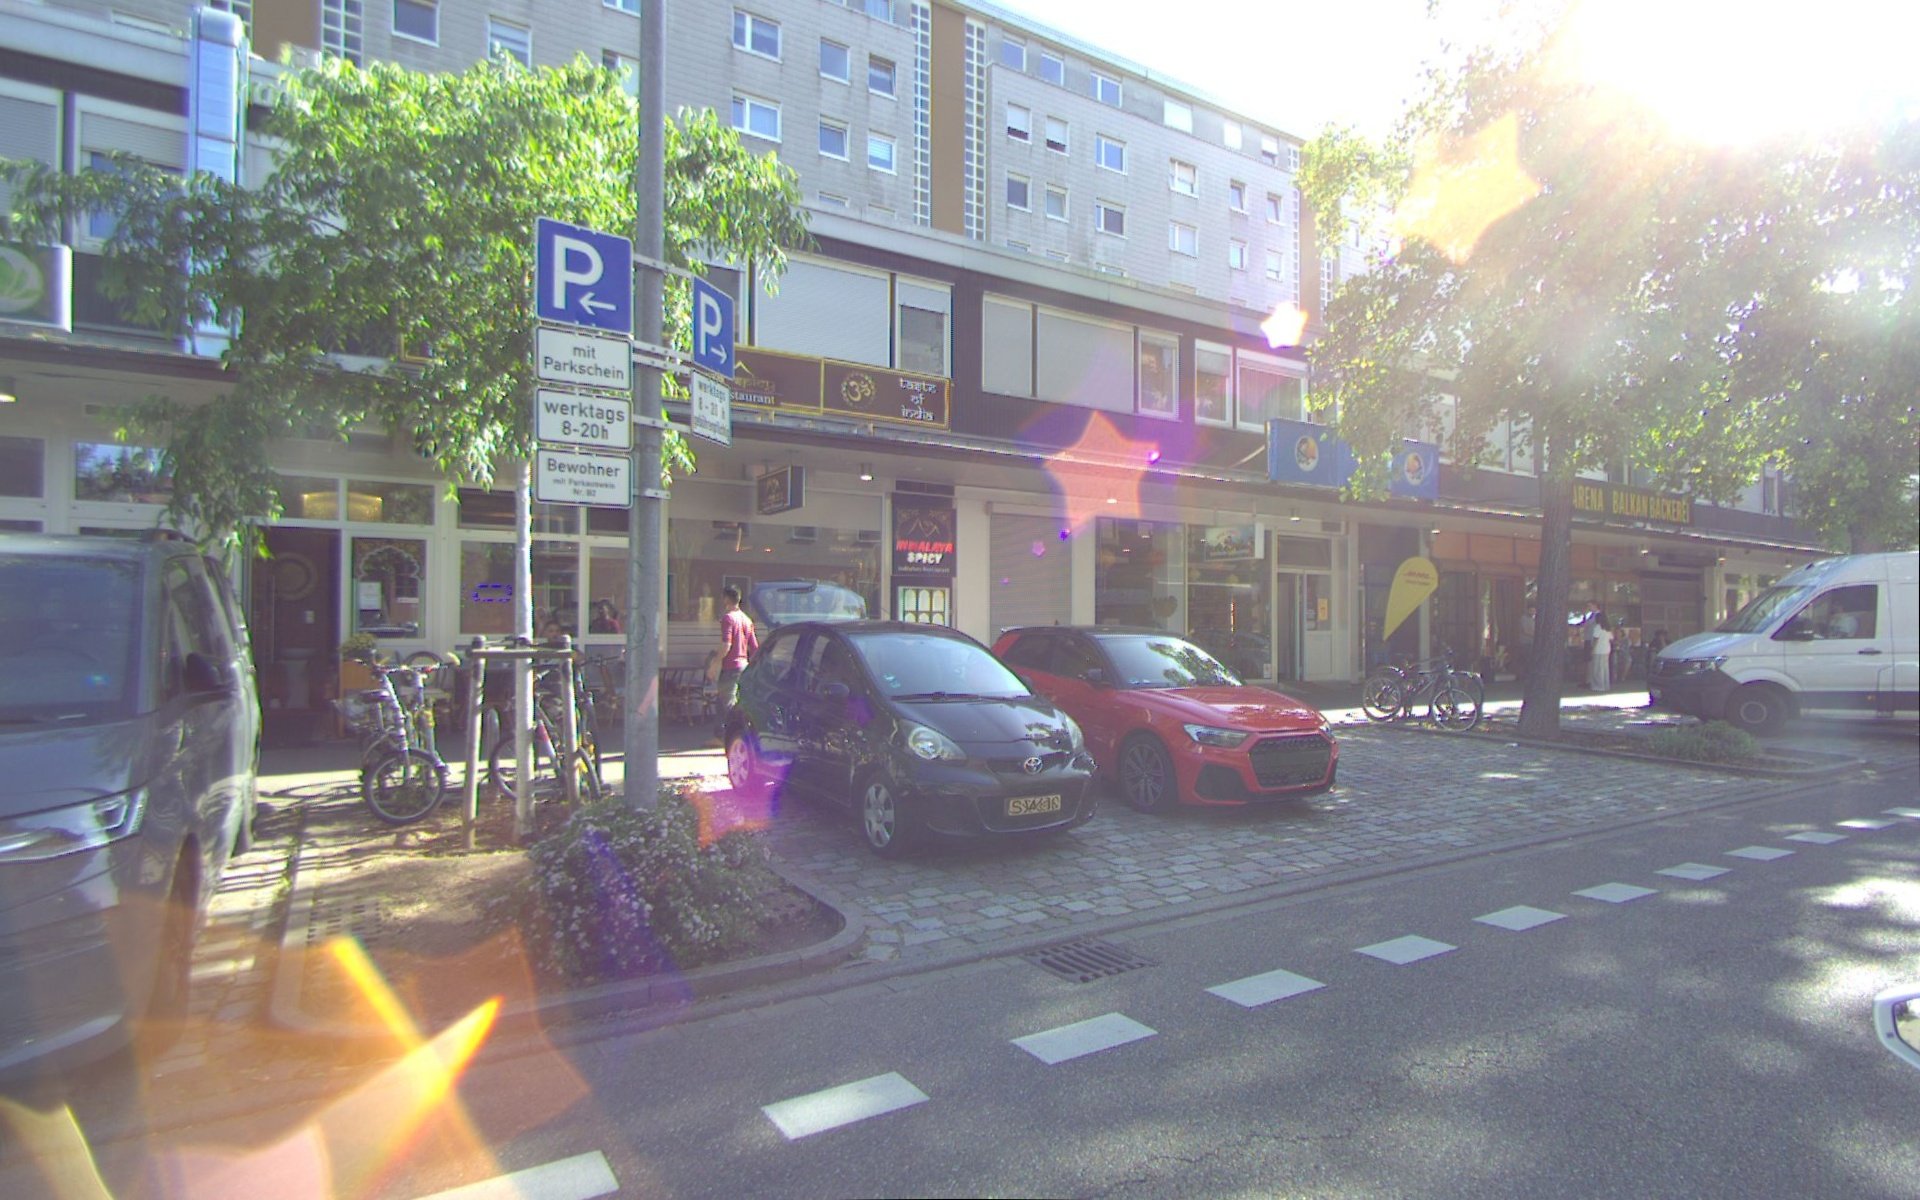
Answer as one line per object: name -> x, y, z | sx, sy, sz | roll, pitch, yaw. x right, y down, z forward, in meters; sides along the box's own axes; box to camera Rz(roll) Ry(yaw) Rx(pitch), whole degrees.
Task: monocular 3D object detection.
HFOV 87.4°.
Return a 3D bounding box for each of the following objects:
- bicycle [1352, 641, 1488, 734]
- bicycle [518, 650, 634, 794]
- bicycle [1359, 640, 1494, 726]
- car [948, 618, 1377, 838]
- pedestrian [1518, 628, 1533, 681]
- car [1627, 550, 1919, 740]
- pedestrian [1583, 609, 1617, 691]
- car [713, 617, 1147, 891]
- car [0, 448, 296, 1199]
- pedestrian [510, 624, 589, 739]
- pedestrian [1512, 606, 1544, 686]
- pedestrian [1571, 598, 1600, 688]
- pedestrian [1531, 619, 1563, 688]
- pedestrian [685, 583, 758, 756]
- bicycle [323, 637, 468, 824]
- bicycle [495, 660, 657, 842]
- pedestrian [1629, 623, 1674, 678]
bicycle -> 6.450, 1.193, 14.184 | 0.615, 1.132, 1.712 | 1, 0, -28
bicycle -> -3.323, 0.978, 8.606 | 0.608, 1.053, 1.853 | 1, -2, -31
bicycle -> 6.996, 1.217, 15.173 | 0.579, 1.121, 1.860 | 1, 0, -28
car -> 1.589, 0.948, 9.187 | 1.690, 1.470, 3.898 | 1, 0, -30
pedestrian -> 13.425, 1.288, 23.849 | 0.212, 1.261, 0.211 | 1, 0, -30
car -> 13.393, 0.610, 14.017 | 6.473, 2.506, 2.000 | 0, -1, 20
pedestrian -> 13.729, 1.073, 21.548 | 0.496, 1.728, 0.388 | 1, 0, -30
car -> -0.457, 0.906, 7.637 | 1.596, 1.470, 3.643 | 1, 0, -34
car -> -4.254, 0.568, 4.432 | 1.851, 1.964, 5.006 | 1, 0, -30
pedestrian -> -4.706, 0.909, 11.502 | 0.738, 1.262, 0.646 | 1, -1, -31
pedestrian -> 12.886, 1.039, 22.794 | 0.423, 1.805, 0.481 | 1, -2, -34
pedestrian -> 13.768, 0.946, 22.126 | 0.357, 1.960, 0.388 | 1, 0, -30
pedestrian -> 12.901, 1.166, 22.087 | 0.416, 1.492, 0.465 | 1, -2, -34
pedestrian -> -2.467, 0.709, 10.441 | 0.622, 1.735, 0.581 | 0, -1, -3
bicycle -> -4.229, 0.885, 7.677 | 0.790, 1.183, 2.230 | 1, -2, -25
bicycle -> -2.755, 0.979, 7.089 | 0.609, 1.053, 1.849 | 1, -2, -36
pedestrian -> 17.550, 1.271, 25.485 | 0.696, 1.348, 0.718 | 2, 0, -34
